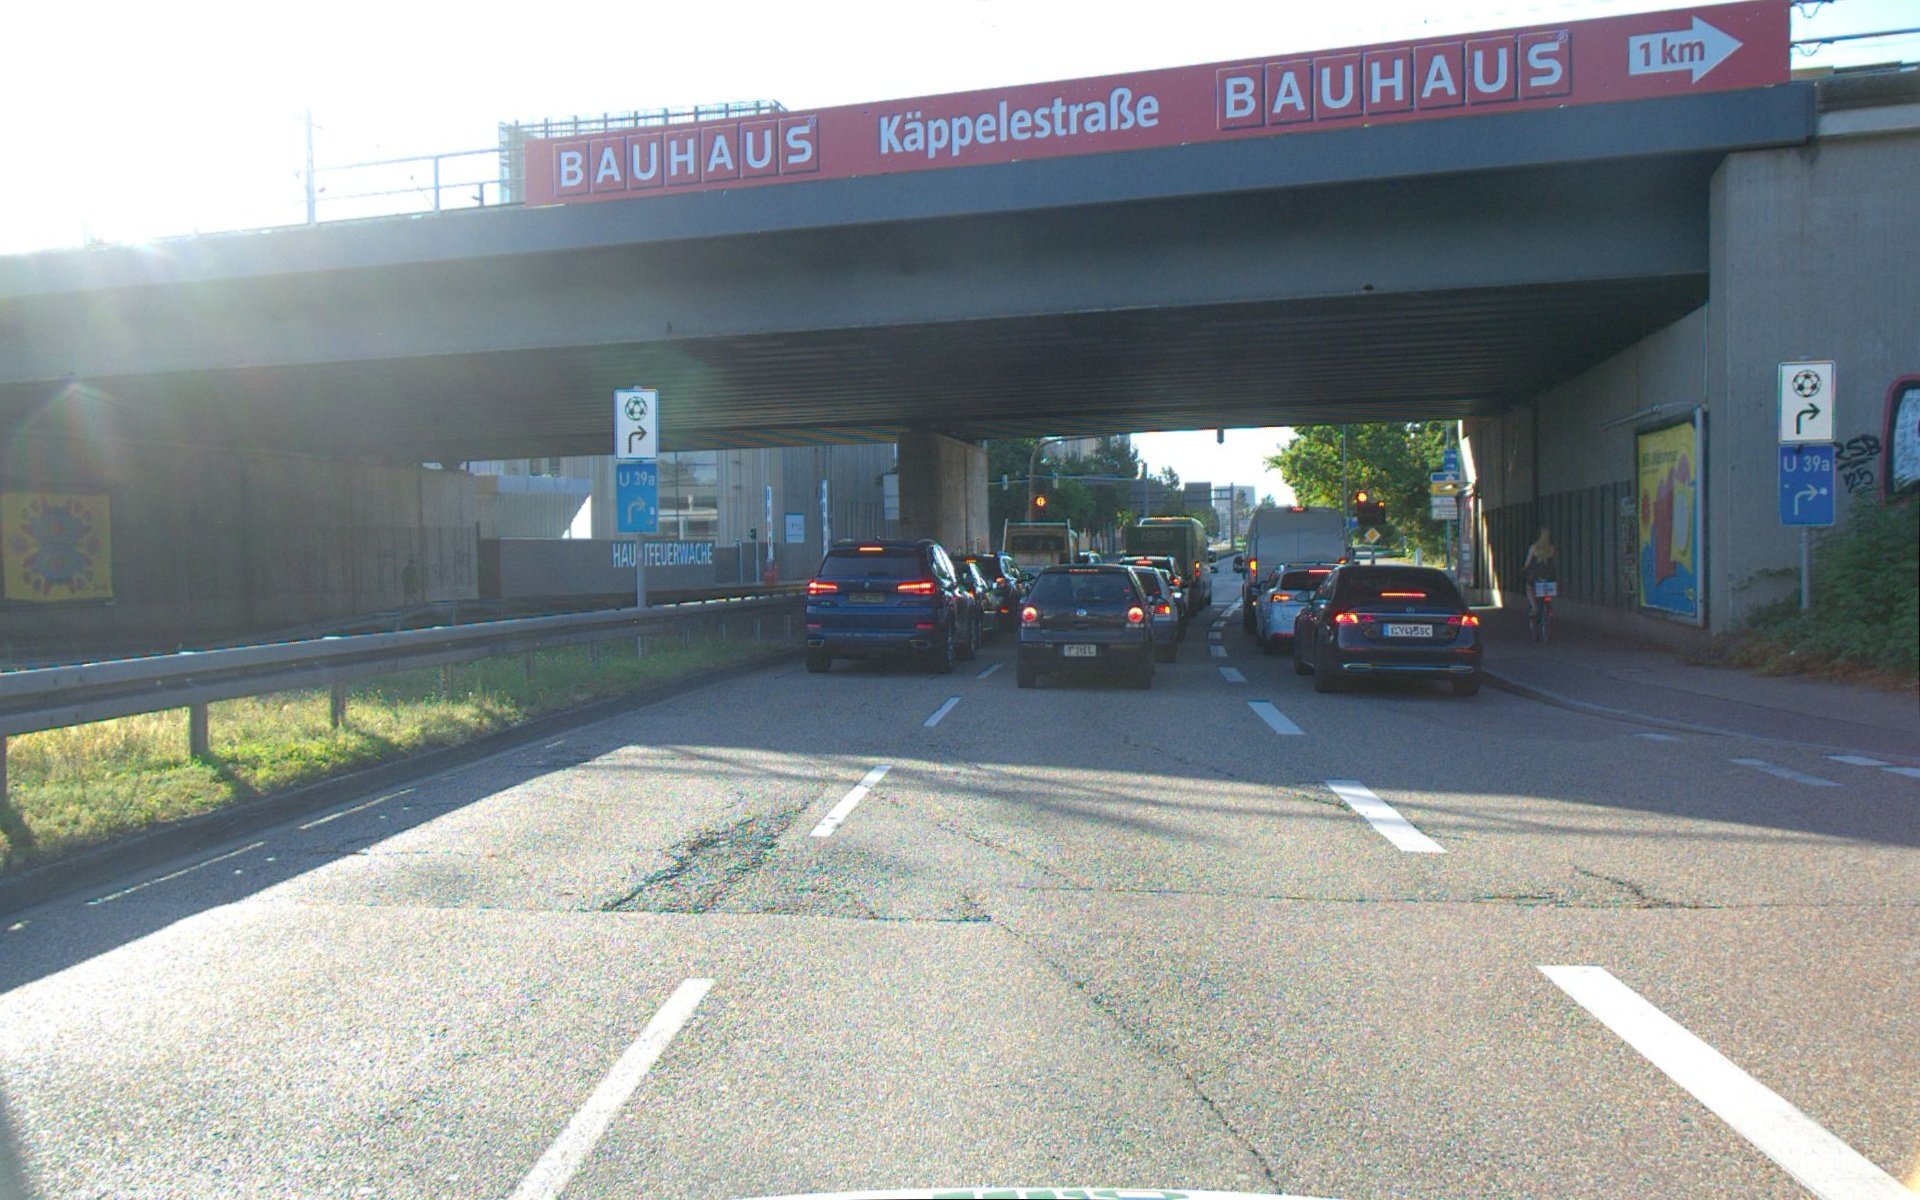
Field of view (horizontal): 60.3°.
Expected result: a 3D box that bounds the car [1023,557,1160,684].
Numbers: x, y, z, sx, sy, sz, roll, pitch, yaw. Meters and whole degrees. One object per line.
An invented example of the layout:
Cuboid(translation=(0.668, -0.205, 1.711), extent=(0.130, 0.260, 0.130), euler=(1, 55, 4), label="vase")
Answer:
Cuboid(translation=(1.653, 0.216, 20.712), extent=(1.548, 1.433, 3.834), euler=(0, 0, 5), label="car")

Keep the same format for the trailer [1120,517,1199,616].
Cuboid(translation=(5.430, -0.879, 44.728), extent=(1.824, 2.508, 3.835), euler=(-2, 0, 10), label="trailer")

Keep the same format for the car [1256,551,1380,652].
Cuboid(translation=(5.930, 0.005, 27.744), extent=(1.734, 1.521, 3.835), euler=(-2, 0, 8), label="car")

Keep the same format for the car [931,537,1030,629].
Cuboid(translation=(0.488, -0.364, 35.352), extent=(1.803, 1.749, 4.002), euler=(-4, 0, 4), label="car")

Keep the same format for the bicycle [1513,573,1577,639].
Cuboid(translation=(9.097, 0.078, 25.801), extent=(0.566, 0.980, 2.889), euler=(-1, 0, 12), label="bicycle")

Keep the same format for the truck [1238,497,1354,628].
Cuboid(translation=(7.152, -0.785, 35.586), extent=(2.066, 2.563, 4.405), euler=(-2, 0, 7), label="truck")

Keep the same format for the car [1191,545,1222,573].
Cuboid(translation=(15.114, -2.507, 101.279), extent=(1.762, 1.632, 4.004), euler=(-1, 0, 10), label="car")

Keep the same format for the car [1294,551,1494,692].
Cuboid(translation=(5.158, 0.166, 20.223), extent=(1.703, 1.479, 4.610), euler=(0, 2, 6), label="car")

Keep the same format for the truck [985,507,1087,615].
Cuboid(translation=(2.064, -0.982, 43.070), extent=(1.984, 2.601, 5.542), euler=(0, 1, 9), label="truck")

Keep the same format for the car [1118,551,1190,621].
Cuboid(translation=(4.617, -0.334, 38.956), extent=(1.548, 1.559, 3.835), euler=(0, 0, 9), label="car")

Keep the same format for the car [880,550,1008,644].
Cuboid(translation=(-0.217, -0.066, 29.655), extent=(1.802, 1.465, 3.678), euler=(-4, 0, 6), label="car")

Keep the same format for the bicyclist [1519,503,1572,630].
Cuboid(translation=(9.085, -0.516, 25.695), extent=(0.667, 1.940, 0.834), euler=(0, 0, 12), label="bicyclist")

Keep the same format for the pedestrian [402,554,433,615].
Cuboid(translation=(-17.448, -0.492, 53.221), extent=(0.679, 1.937, 0.665), euler=(0, 0, 11), label="pedestrian")

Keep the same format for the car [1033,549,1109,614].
Cuboid(translation=(3.557, -0.578, 52.339), extent=(1.951, 1.934, 4.004), euler=(-1, 0, 11), label="car")

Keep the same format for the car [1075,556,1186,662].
Cuboid(translation=(2.695, 0.087, 25.692), extent=(1.514, 1.447, 3.420), euler=(-4, 1, 8), label="car")

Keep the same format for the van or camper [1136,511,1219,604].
Cuboid(translation=(6.646, -1.239, 50.090), extent=(1.951, 2.615, 5.923), euler=(0, 1, 13), label="van or camper")

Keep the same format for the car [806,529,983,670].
Cuboid(translation=(-0.806, -0.024, 23.176), extent=(1.790, 1.769, 4.465), euler=(-1, 0, 6), label="car")
